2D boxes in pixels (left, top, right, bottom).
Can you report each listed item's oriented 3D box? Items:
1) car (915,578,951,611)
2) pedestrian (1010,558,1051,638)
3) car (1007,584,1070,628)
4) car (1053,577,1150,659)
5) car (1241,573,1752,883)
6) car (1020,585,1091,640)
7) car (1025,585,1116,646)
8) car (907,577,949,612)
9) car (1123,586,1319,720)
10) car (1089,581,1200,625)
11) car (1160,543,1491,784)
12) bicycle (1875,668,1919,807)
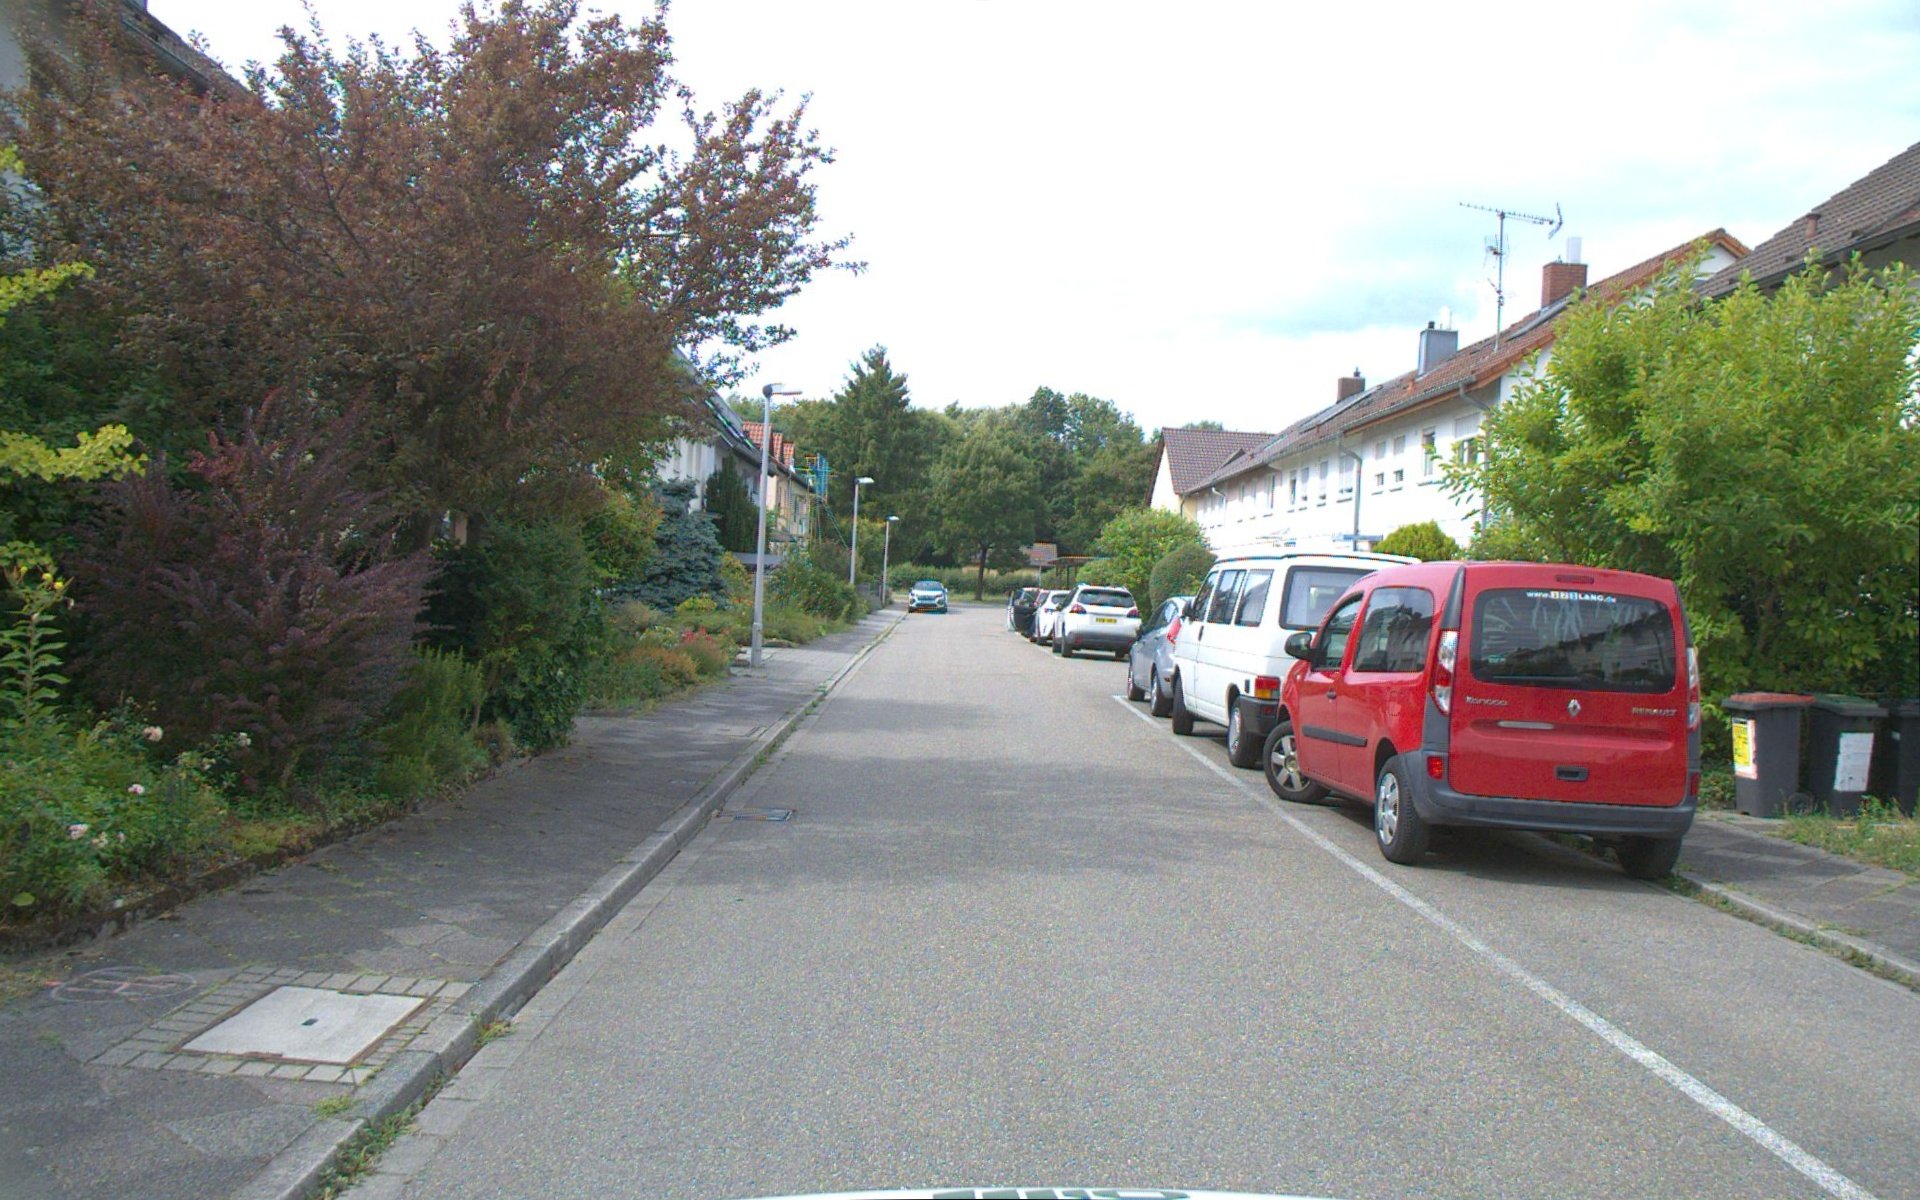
[{"bbox_3d":[-1.397,-0.304,86.179,1.773,1.589,4.847,2,1,-1],"label":"car"},{"bbox_3d":[1.855,-0.048,43.492,0.894,2.049,0.950,2,0,-6],"label":"pedestrian"},{"bbox_3d":[2.793,0.191,59.929,1.827,1.441,4.251,3,1,-3],"label":"car"},{"bbox_3d":[3.041,0.349,36.322,1.679,1.570,3.973,4,1,0],"label":"car"},{"bbox_3d":[3.365,0.682,11.386,1.775,1.679,4.407,2,1,-4],"label":"car"},{"bbox_3d":[2.812,0.337,49.598,1.738,1.460,4.825,4,0,0],"label":"car"},{"bbox_3d":[2.850,0.358,43.583,1.801,1.437,4.634,2,1,-3],"label":"car"},{"bbox_3d":[-1.543,-0.283,80.778,1.894,1.583,4.634,2,1,0],"label":"car"},{"bbox_3d":[3.268,0.609,21.489,1.862,1.485,4.129,2,1,0],"label":"car"},{"bbox_3d":[7.312,0.115,65.797,4.183,1.587,1.935,2,0,0],"label":"car"},{"bbox_3d":[3.388,0.507,16.385,1.980,1.981,4.745,2,1,-3],"label":"car"},{"bbox_3d":[7.531,0.990,11.672,1.840,0.924,0.560,2,0,-3],"label":"bicycle"}]
